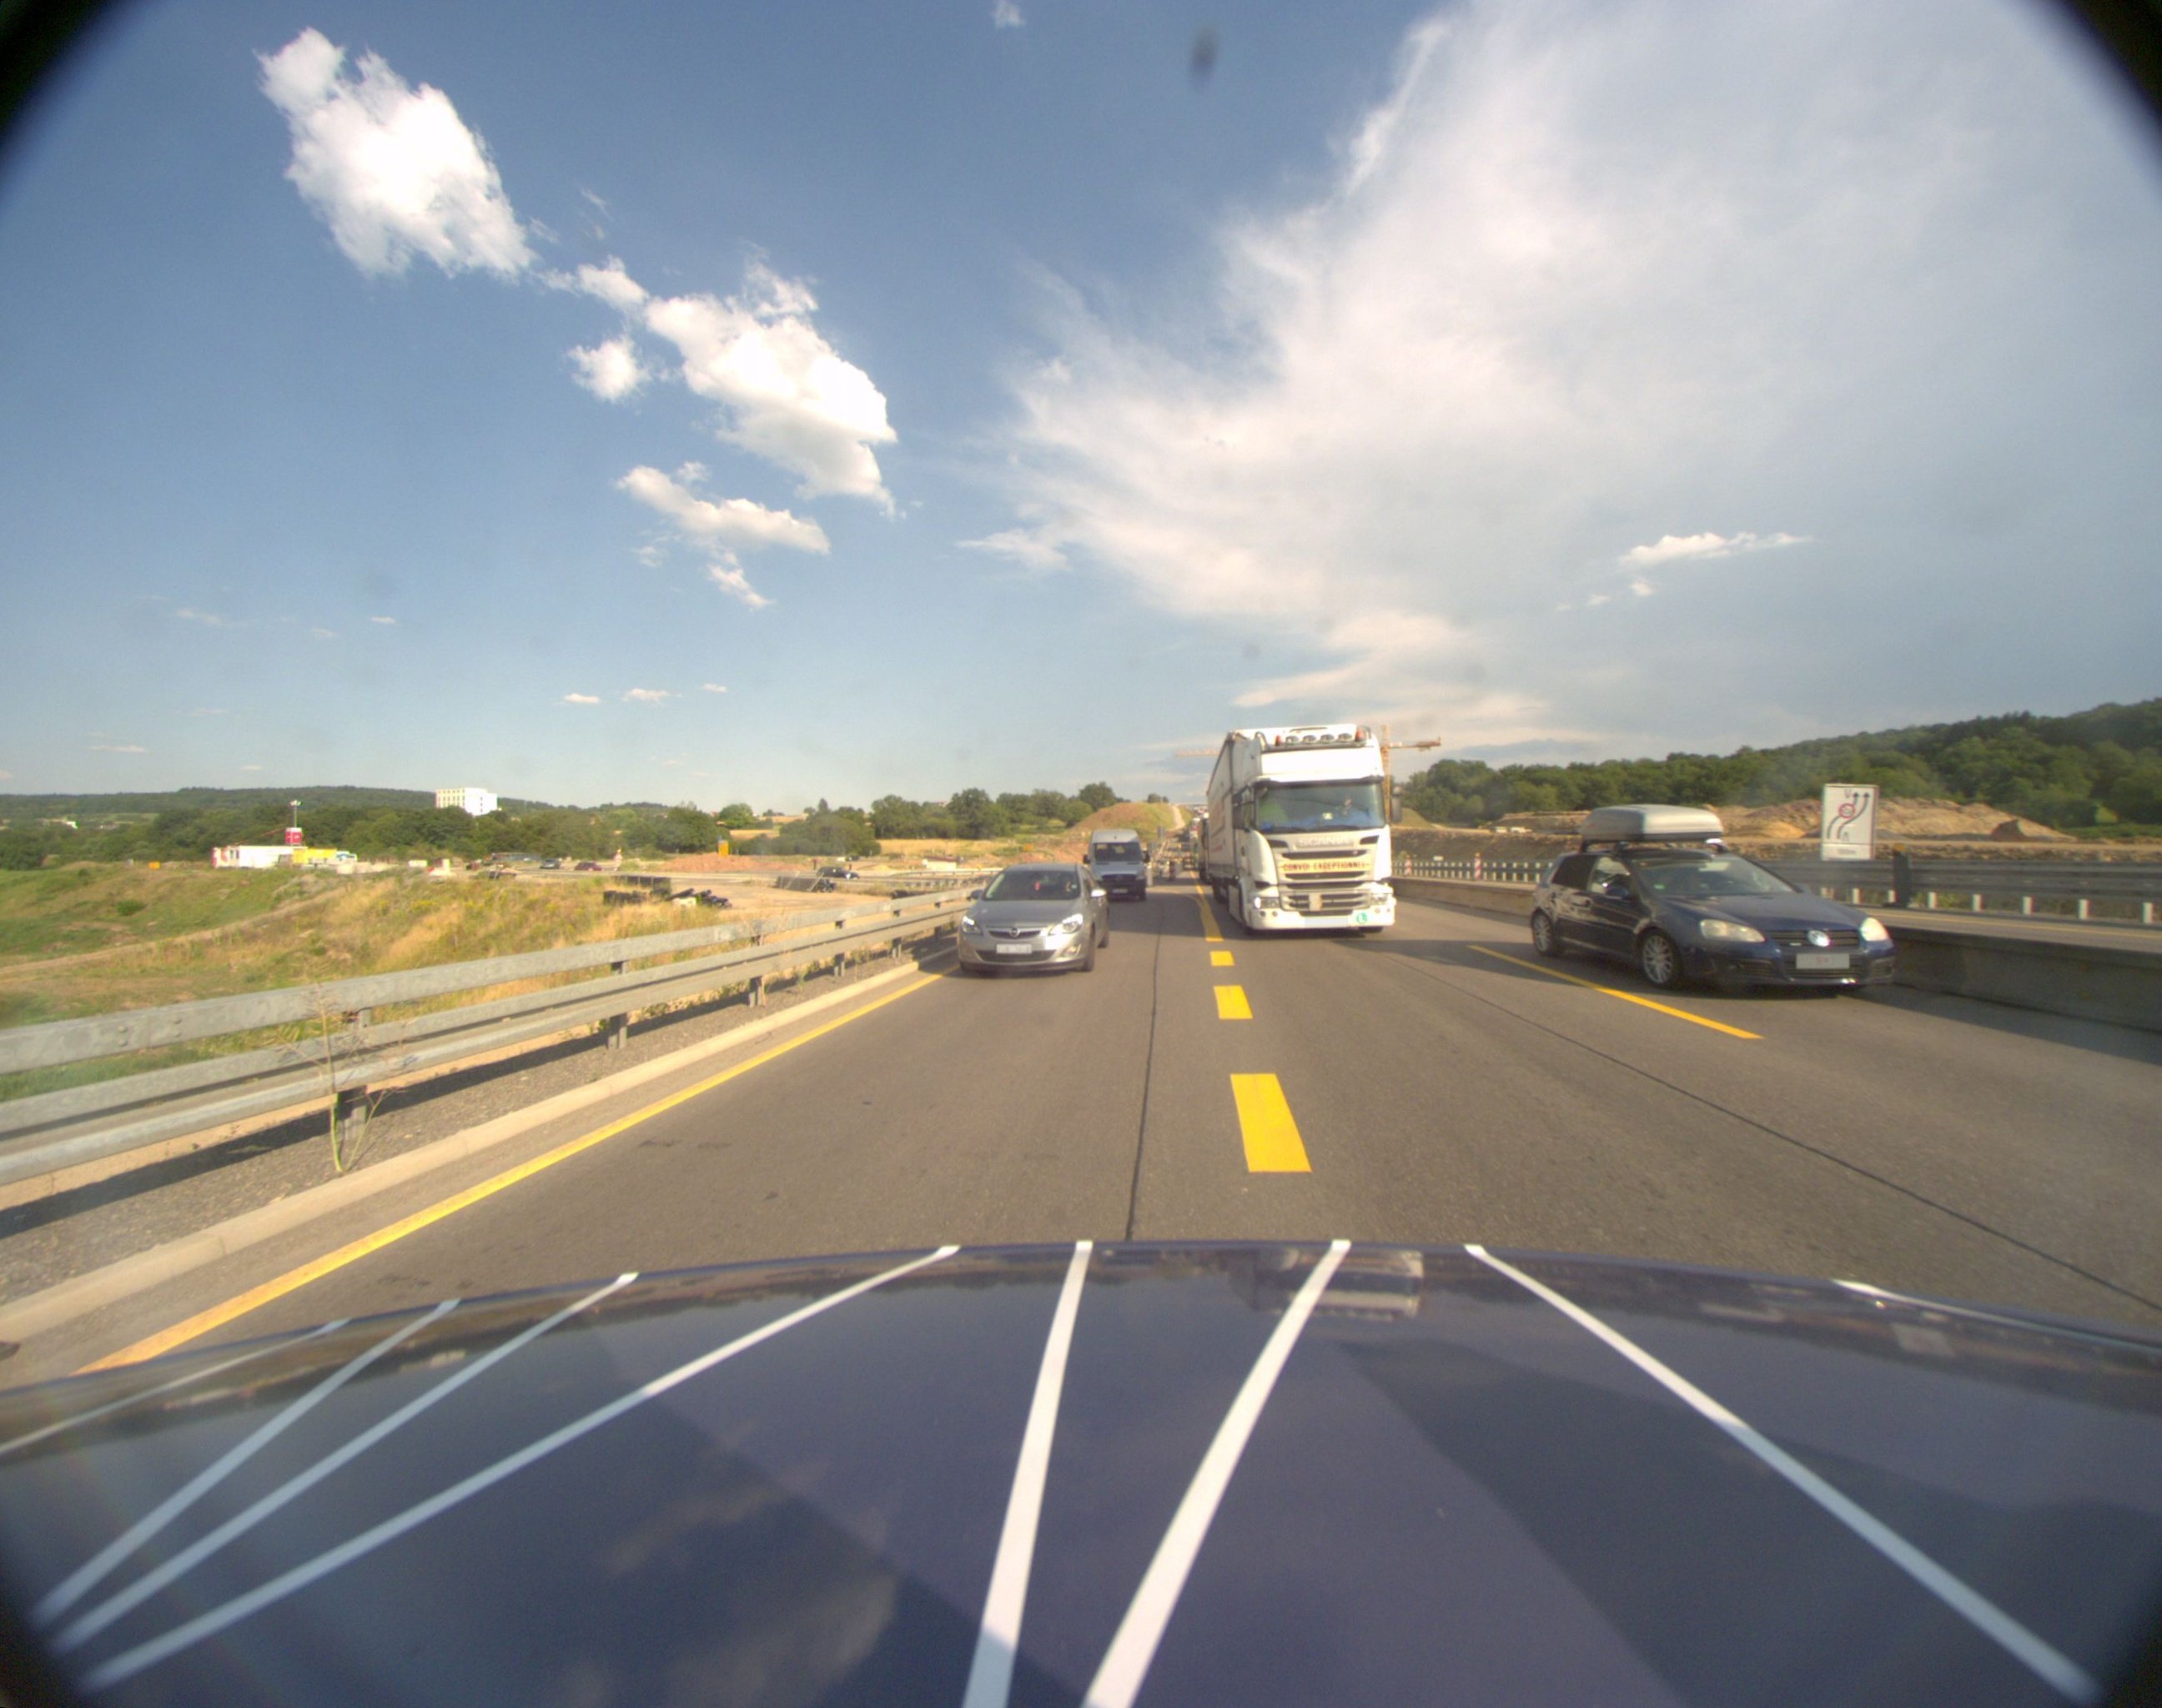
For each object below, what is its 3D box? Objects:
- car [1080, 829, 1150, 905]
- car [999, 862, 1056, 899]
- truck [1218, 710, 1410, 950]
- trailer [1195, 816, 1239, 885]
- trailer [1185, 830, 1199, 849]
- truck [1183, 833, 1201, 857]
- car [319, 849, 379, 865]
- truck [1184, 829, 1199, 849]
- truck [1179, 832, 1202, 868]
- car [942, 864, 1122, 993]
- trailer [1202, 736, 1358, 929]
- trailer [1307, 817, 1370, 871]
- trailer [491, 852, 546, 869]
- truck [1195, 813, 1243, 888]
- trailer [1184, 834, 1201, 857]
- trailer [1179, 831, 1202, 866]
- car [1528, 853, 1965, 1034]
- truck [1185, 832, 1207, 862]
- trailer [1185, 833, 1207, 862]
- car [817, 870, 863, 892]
[{"bbox_3d":[1.115,0.382,27.908,1.917,2.486,5.795,1,1,-4],"label":"car"},{"bbox_3d":[-3.869,1.858,54.165,3.988,2.389,1.881,2,1,45],"label":"car"},{"bbox_3d":[4.310,-0.401,15.309,2.485,3.856,6.013,-1,1,5],"label":"truck"},{"bbox_3d":[9.010,-0.290,51.309,2.485,4.038,13.639,-1,1,9],"label":"trailer"},{"bbox_3d":[25.761,-3.324,175.985,3.109,4.289,14.260,1,1,9],"label":"trailer"},{"bbox_3d":[20.632,-1.578,140.752,3.109,4.289,6.901,1,1,9],"label":"truck"},{"bbox_3d":[-99.504,0.418,103.334,2.481,2.067,5.327,1,1,20],"label":"car"},{"bbox_3d":[24.502,-3.251,167.908,3.109,4.289,6.901,1,1,9],"label":"truck"},{"bbox_3d":[12.440,-0.463,86.260,2.485,3.879,6.015,-1,1,8],"label":"truck"},{"bbox_3d":[-0.497,0.943,11.327,1.746,1.476,4.255,-2,0,9],"label":"car"},{"bbox_3d":[5.062,-0.485,22.048,2.485,3.856,13.636,-1,1,7],"label":"trailer"},{"bbox_3d":[21.588,-0.862,64.580,2.632,4.043,14.088,1,1,9],"label":"trailer"},{"bbox_3d":[-84.759,0.917,114.642,3.011,2.400,7.227,0,1,-1],"label":"trailer"},{"bbox_3d":[7.890,-0.212,44.045,2.485,4.037,6.015,-1,1,8],"label":"truck"},{"bbox_3d":[21.808,-1.642,148.630,3.109,4.289,14.260,1,1,9],"label":"trailer"},{"bbox_3d":[13.514,-0.690,93.645,2.485,3.936,13.983,-1,1,8],"label":"trailer"},{"bbox_3d":[6.789,0.765,8.427,1.824,1.476,3.922,-1,1,9],"label":"car"},{"bbox_3d":[17.198,-0.986,113.268,3.109,4.289,6.901,1,1,9],"label":"truck"},{"bbox_3d":[18.343,-1.091,120.918,3.109,4.289,14.260,1,1,9],"label":"trailer"},{"bbox_3d":[-21.925,2.413,69.108,4.115,1.776,1.640,1,1,29],"label":"car"}]
